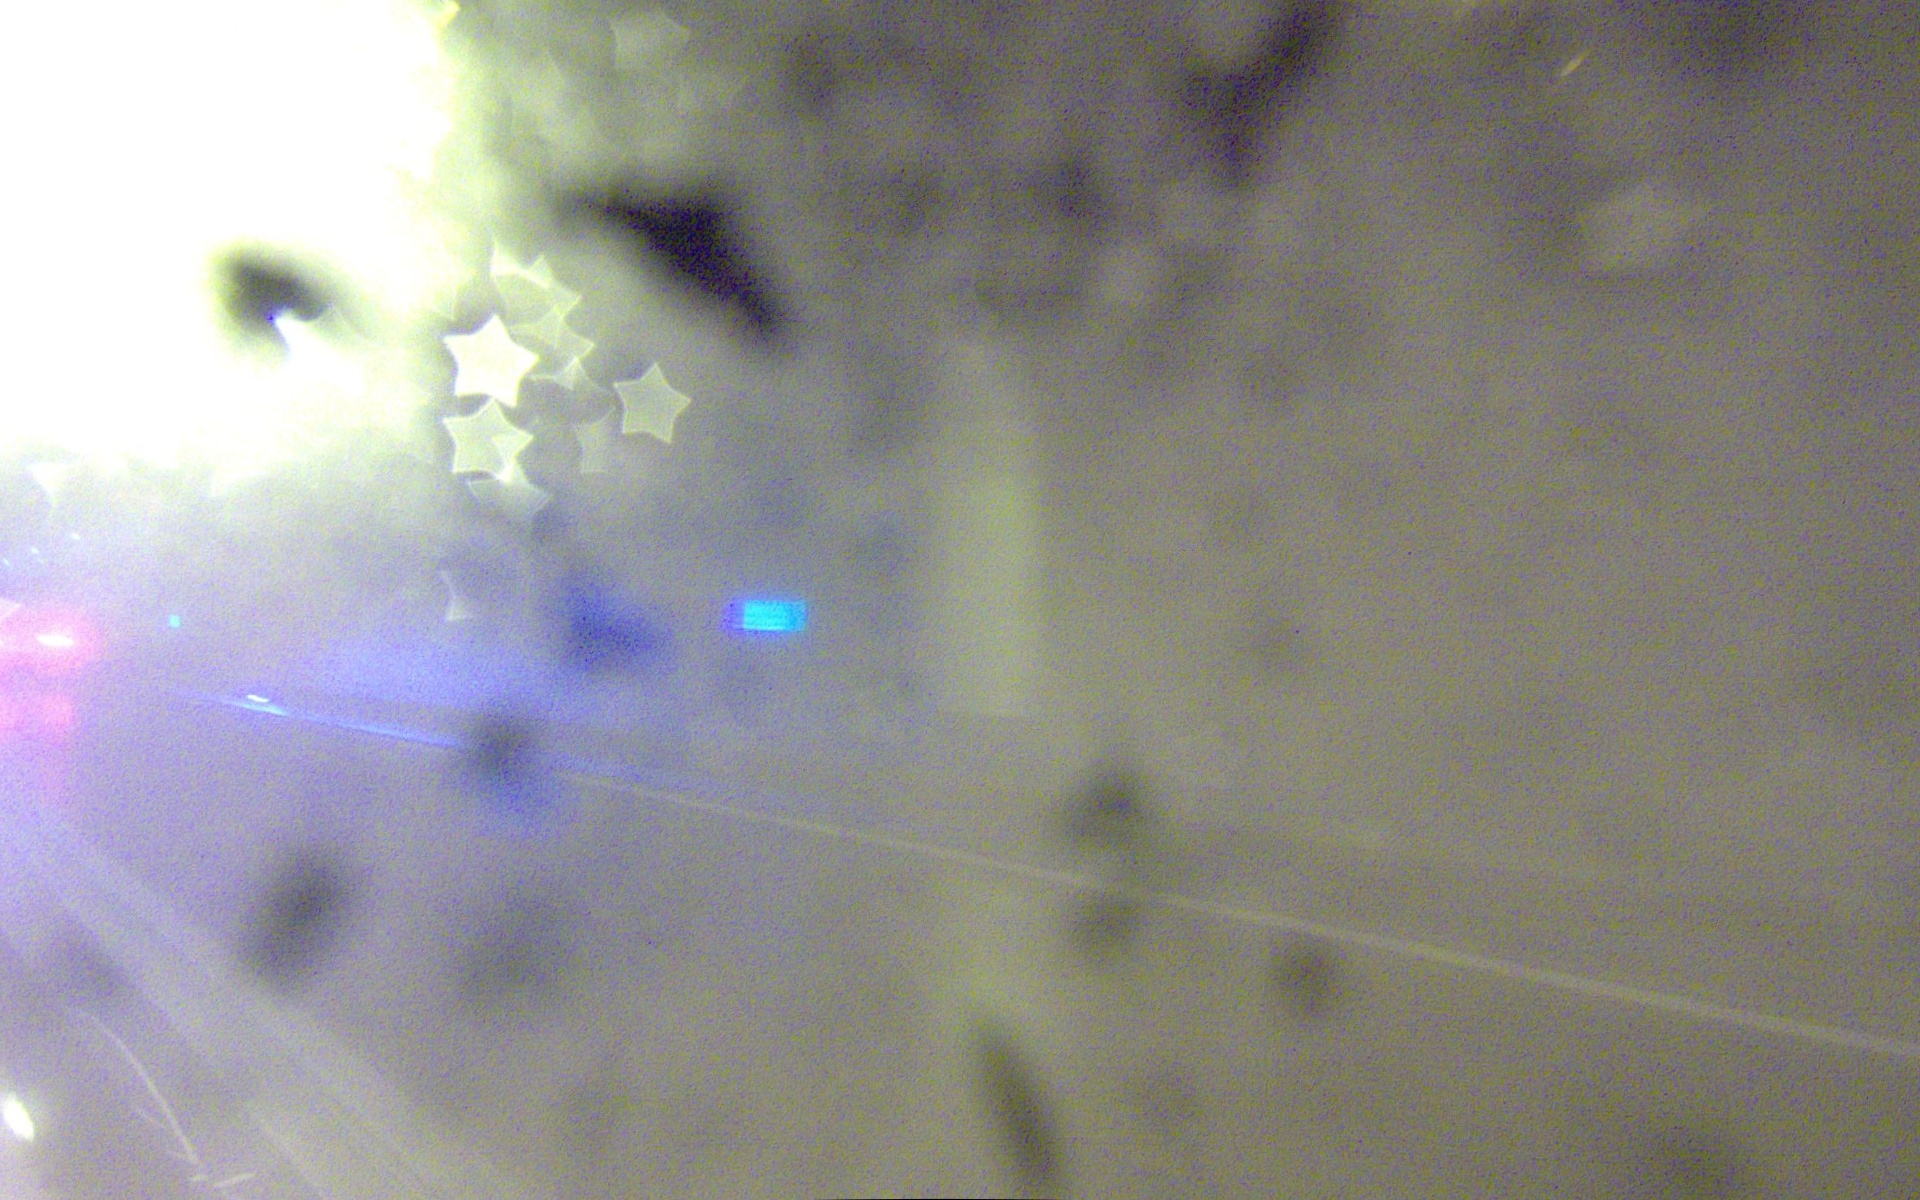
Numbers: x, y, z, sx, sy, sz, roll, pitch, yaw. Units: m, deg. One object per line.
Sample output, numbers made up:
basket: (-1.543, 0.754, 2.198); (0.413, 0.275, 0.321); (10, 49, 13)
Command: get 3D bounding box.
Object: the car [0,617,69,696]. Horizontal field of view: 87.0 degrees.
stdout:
car: (-22.468, 1.285, 23.633); (4.278, 1.722, 1.973); (-2, -1, 41)
